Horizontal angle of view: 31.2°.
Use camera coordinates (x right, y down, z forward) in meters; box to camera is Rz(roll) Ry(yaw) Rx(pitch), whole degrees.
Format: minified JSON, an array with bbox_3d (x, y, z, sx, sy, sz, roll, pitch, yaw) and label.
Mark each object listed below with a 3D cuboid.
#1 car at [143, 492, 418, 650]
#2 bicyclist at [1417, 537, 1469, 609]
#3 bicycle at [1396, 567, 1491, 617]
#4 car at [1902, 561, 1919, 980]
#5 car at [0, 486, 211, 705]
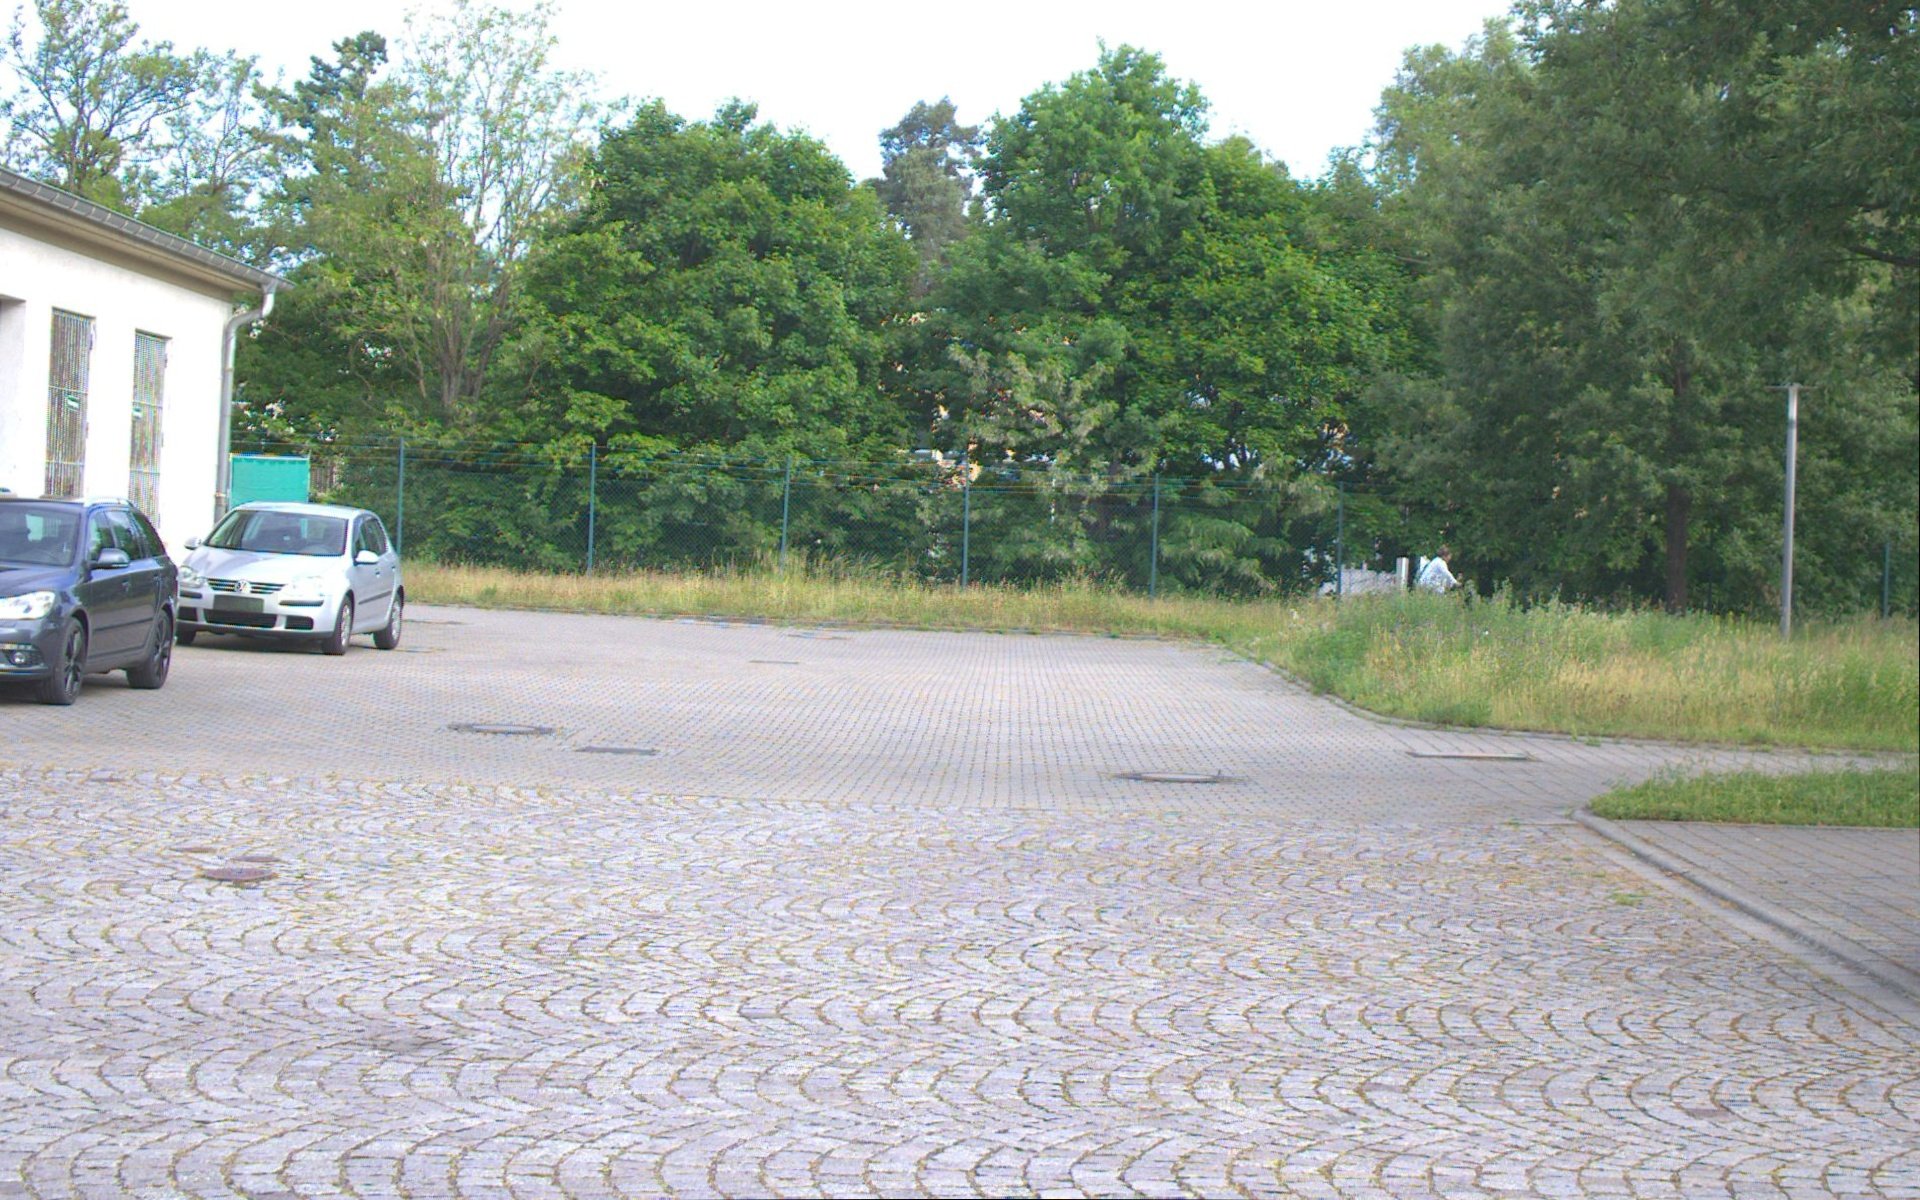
[{"bbox_3d":[-6.868,-0.319,35.181,1.924,1.434,4.368,2,1,0],"label":"car"},{"bbox_3d":[8.310,-0.461,59.218,0.769,1.202,0.588,2,1,1],"label":"bicyclist"},{"bbox_3d":[8.320,-0.141,59.213,1.517,0.788,0.588,2,1,1],"label":"bicycle"},{"bbox_3d":[5.546,0.653,11.066,4.463,1.442,1.944,1,1,1],"label":"car"},{"bbox_3d":[-7.036,-0.111,25.407,1.924,1.456,4.811,2,1,0],"label":"car"}]
